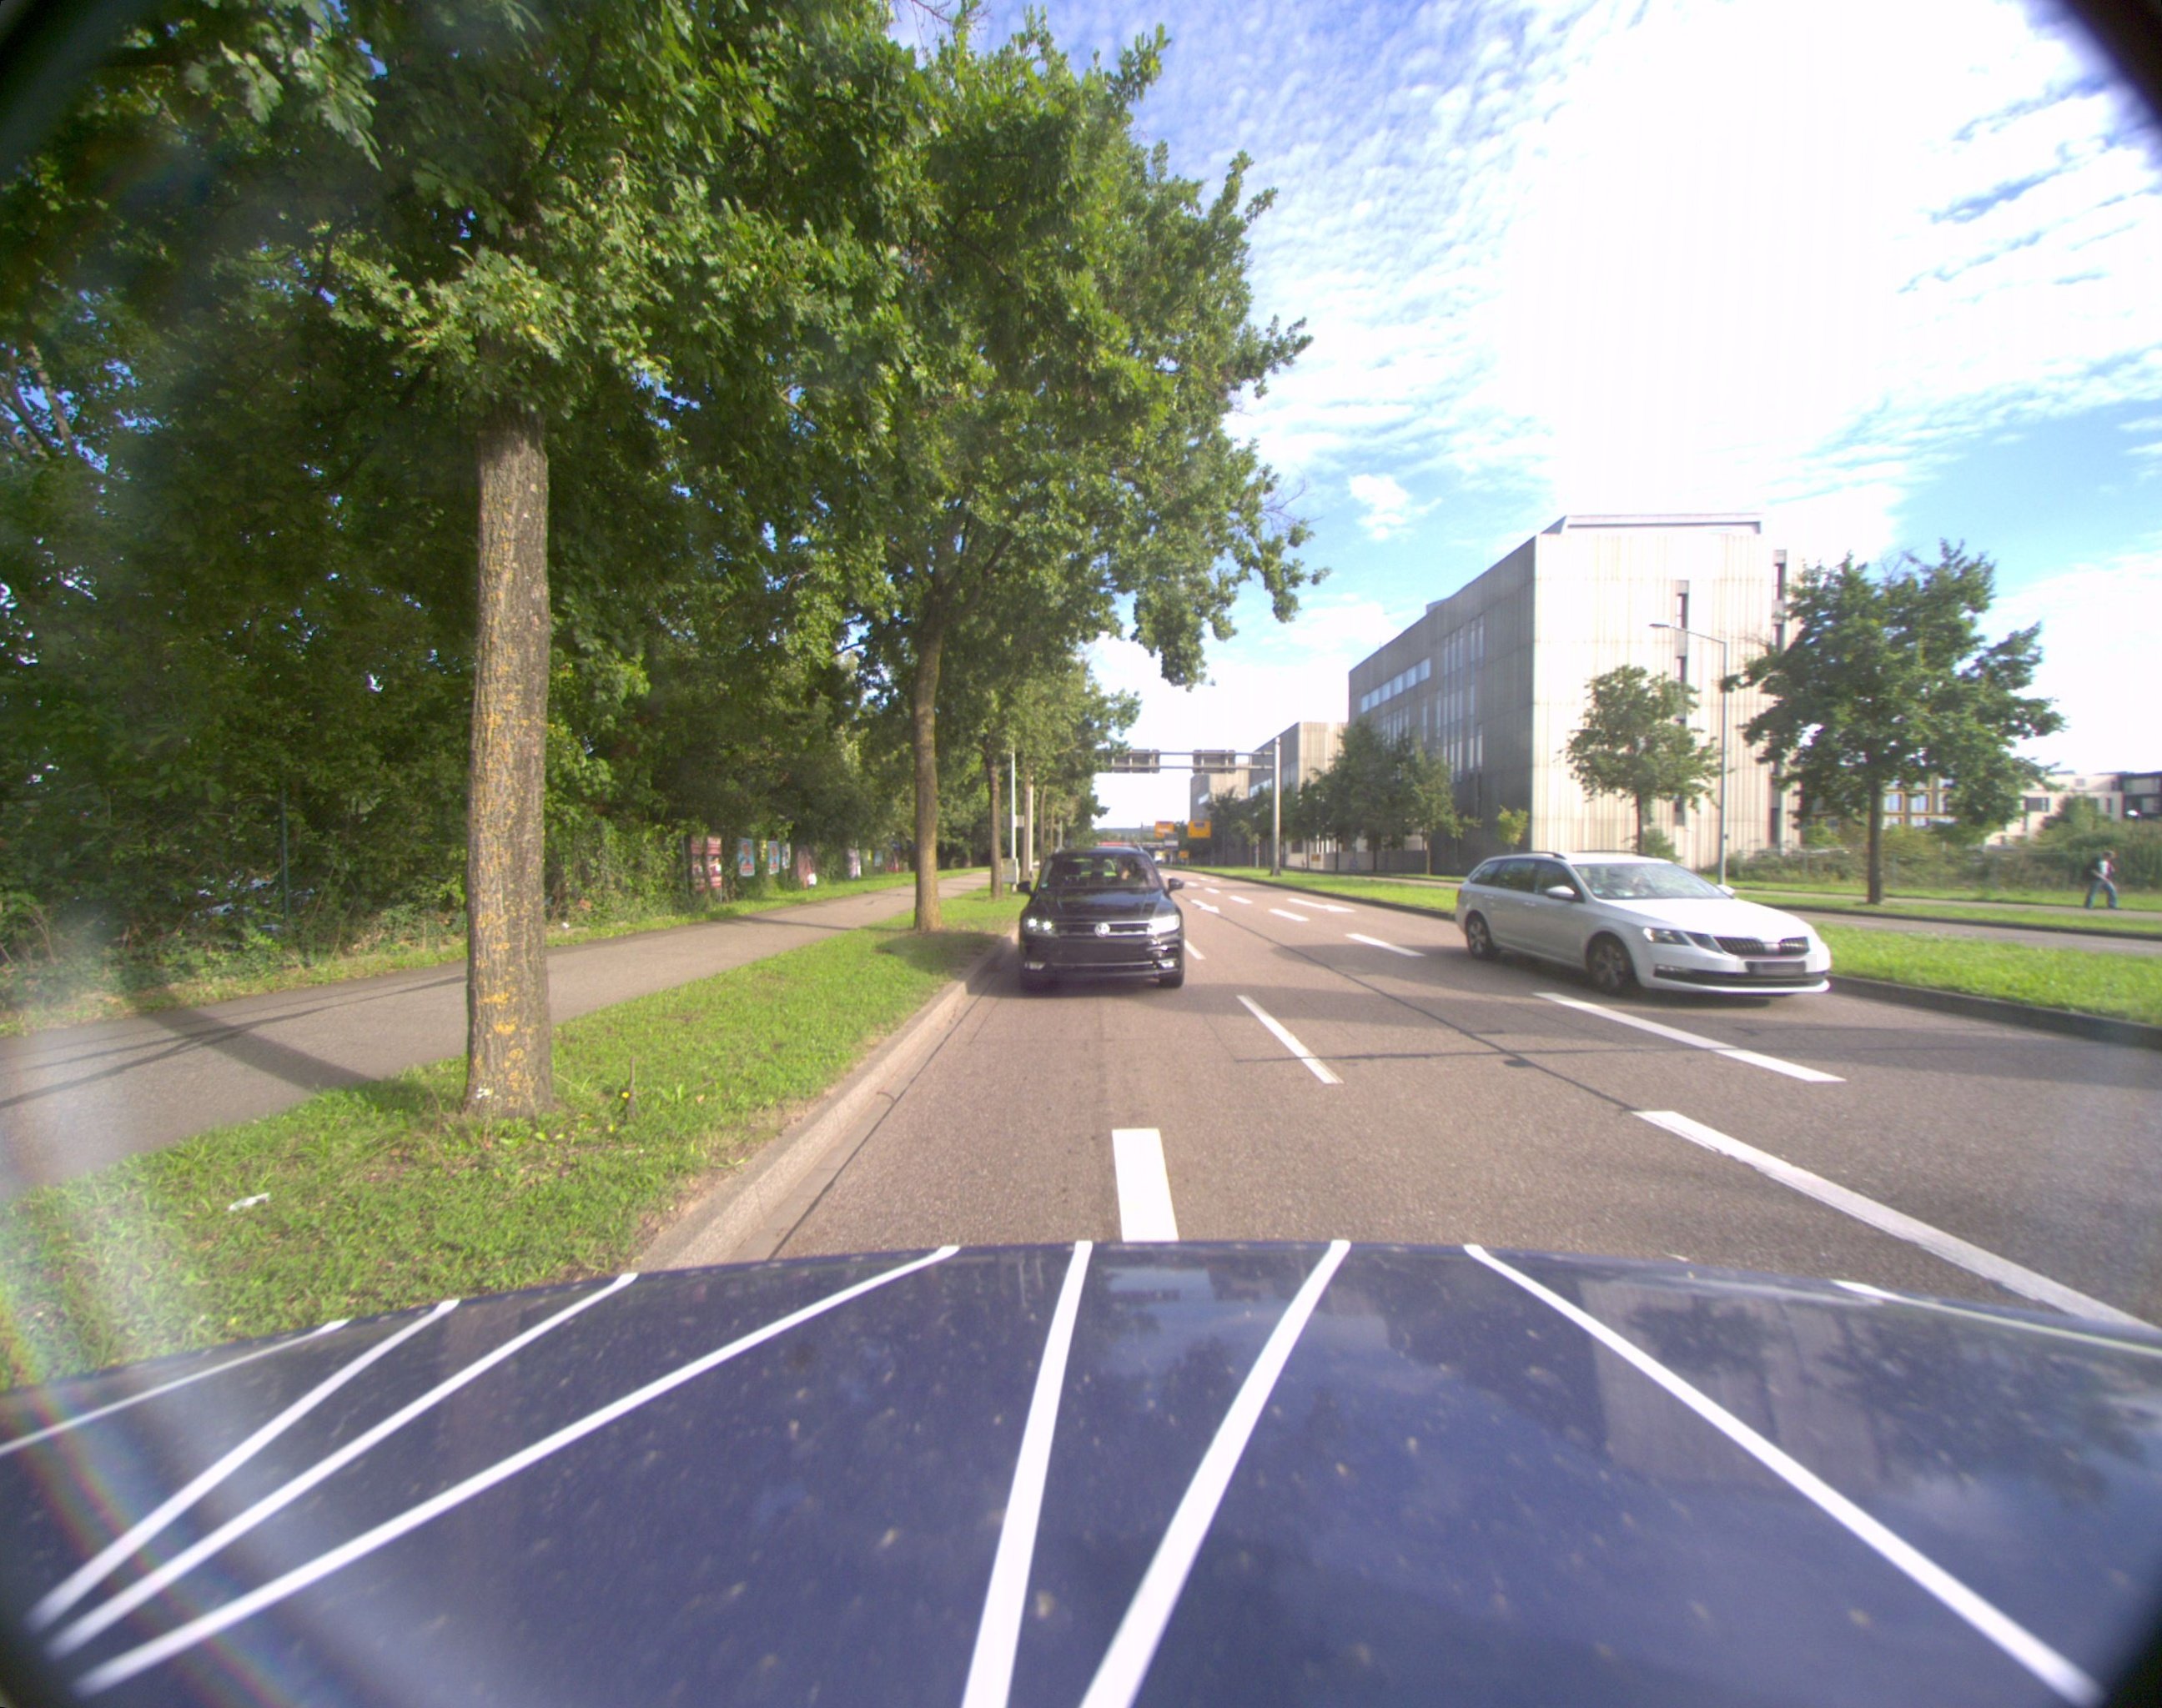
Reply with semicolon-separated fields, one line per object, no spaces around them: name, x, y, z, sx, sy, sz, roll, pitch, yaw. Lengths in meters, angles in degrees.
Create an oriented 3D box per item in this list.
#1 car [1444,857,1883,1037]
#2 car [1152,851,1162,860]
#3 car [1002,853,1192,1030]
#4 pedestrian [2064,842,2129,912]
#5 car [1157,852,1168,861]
car;6.126;0.818;8.836;1.702;1.490;4.481;-1;0;1
car;17.642;0.305;176.991;1.998;2.002;3.983;0;0;0
car;0.209;0.843;9.199;1.775;1.637;3.869;-1;0;2
pedestrian;29.579;0.647;22.145;0.676;2.002;0.867;0;1;0
car;17.361;0.541;162.312;1.998;2.002;4.000;0;0;0
